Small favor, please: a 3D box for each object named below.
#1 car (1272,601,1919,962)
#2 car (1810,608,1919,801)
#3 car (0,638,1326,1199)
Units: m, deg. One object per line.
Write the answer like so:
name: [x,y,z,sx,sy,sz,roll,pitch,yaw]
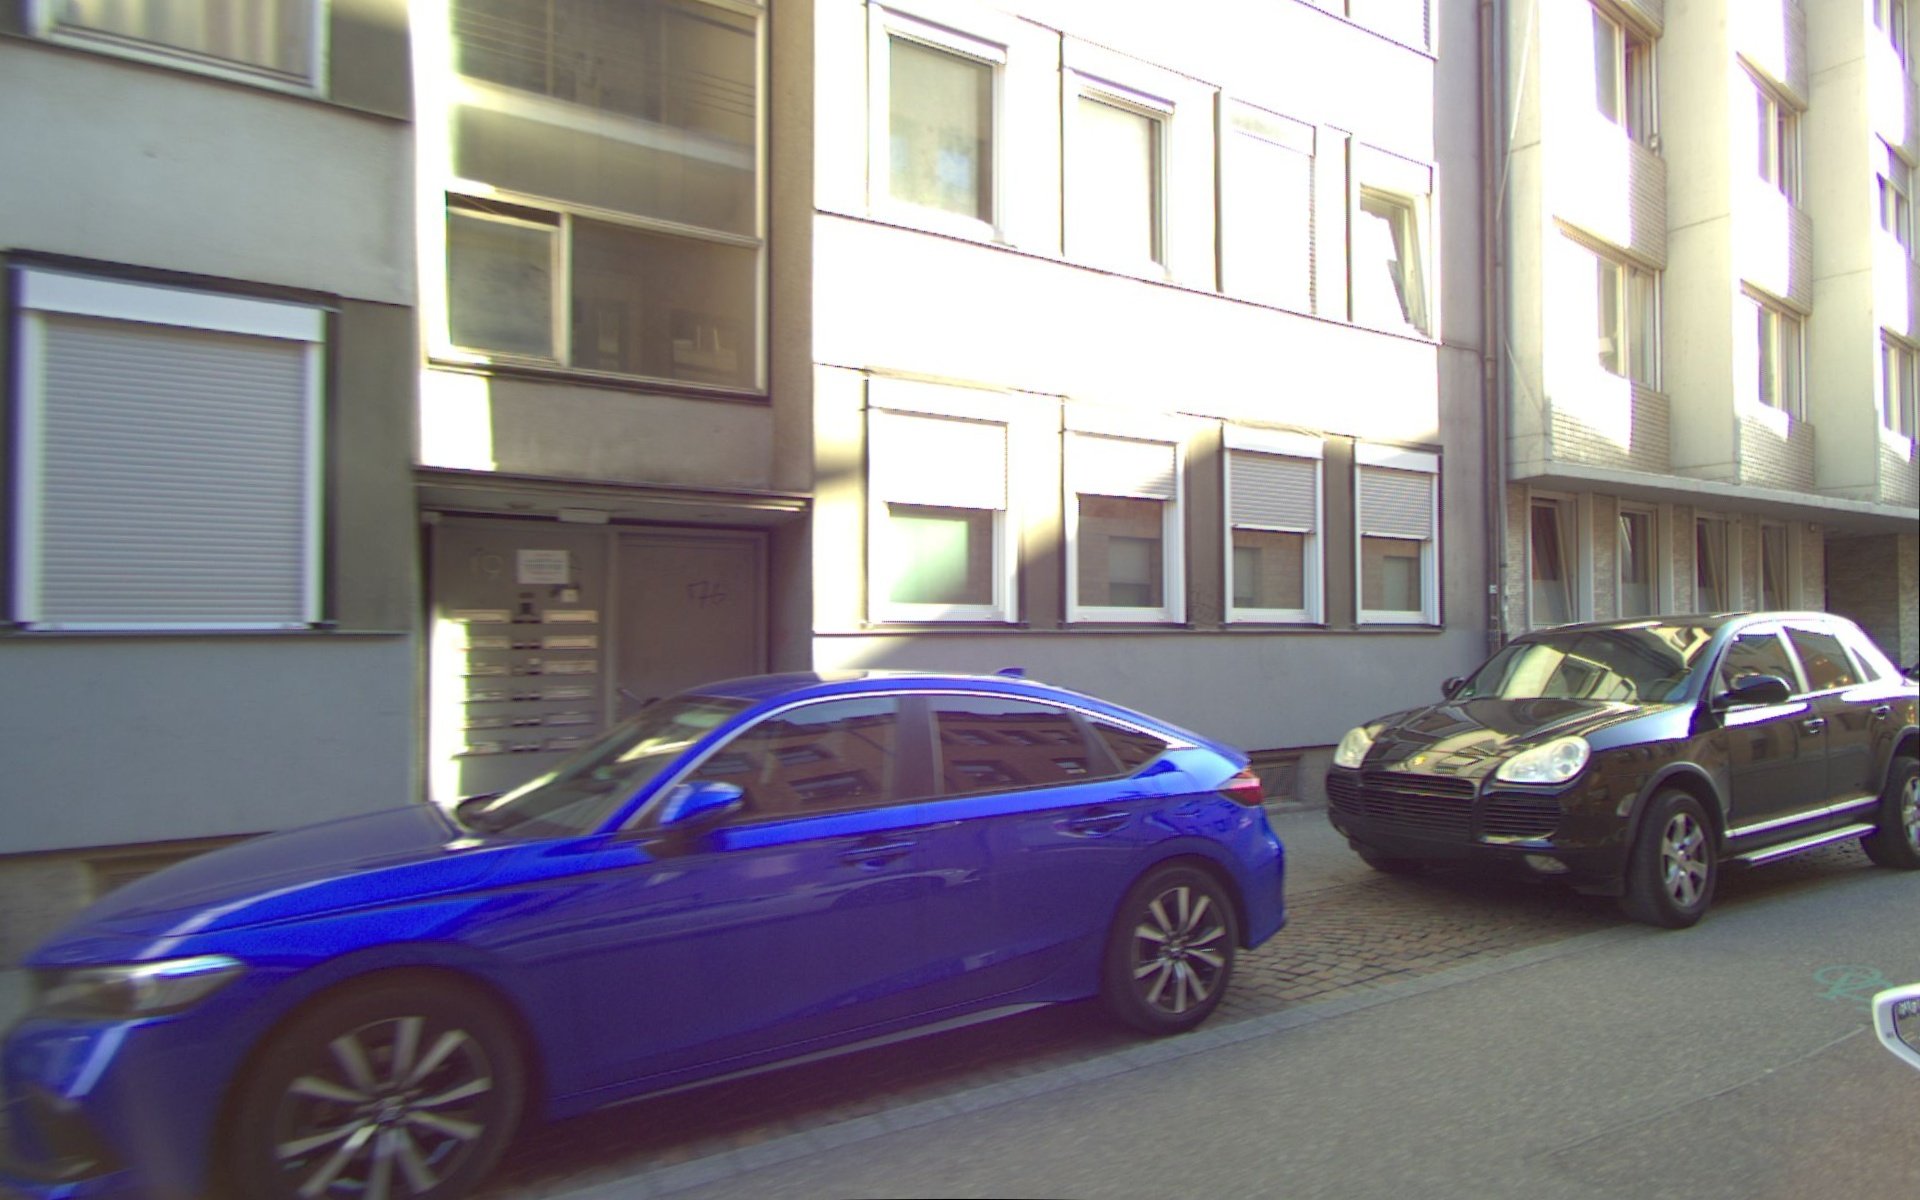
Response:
car: [4.426,0.921,6.652,4.496,1.697,1.883,1,-3,-28]
car: [10.784,0.972,10.127,4.335,1.765,1.883,1,-3,-28]
car: [-0.775,0.958,4.039,4.287,1.550,1.882,1,-3,-29]
